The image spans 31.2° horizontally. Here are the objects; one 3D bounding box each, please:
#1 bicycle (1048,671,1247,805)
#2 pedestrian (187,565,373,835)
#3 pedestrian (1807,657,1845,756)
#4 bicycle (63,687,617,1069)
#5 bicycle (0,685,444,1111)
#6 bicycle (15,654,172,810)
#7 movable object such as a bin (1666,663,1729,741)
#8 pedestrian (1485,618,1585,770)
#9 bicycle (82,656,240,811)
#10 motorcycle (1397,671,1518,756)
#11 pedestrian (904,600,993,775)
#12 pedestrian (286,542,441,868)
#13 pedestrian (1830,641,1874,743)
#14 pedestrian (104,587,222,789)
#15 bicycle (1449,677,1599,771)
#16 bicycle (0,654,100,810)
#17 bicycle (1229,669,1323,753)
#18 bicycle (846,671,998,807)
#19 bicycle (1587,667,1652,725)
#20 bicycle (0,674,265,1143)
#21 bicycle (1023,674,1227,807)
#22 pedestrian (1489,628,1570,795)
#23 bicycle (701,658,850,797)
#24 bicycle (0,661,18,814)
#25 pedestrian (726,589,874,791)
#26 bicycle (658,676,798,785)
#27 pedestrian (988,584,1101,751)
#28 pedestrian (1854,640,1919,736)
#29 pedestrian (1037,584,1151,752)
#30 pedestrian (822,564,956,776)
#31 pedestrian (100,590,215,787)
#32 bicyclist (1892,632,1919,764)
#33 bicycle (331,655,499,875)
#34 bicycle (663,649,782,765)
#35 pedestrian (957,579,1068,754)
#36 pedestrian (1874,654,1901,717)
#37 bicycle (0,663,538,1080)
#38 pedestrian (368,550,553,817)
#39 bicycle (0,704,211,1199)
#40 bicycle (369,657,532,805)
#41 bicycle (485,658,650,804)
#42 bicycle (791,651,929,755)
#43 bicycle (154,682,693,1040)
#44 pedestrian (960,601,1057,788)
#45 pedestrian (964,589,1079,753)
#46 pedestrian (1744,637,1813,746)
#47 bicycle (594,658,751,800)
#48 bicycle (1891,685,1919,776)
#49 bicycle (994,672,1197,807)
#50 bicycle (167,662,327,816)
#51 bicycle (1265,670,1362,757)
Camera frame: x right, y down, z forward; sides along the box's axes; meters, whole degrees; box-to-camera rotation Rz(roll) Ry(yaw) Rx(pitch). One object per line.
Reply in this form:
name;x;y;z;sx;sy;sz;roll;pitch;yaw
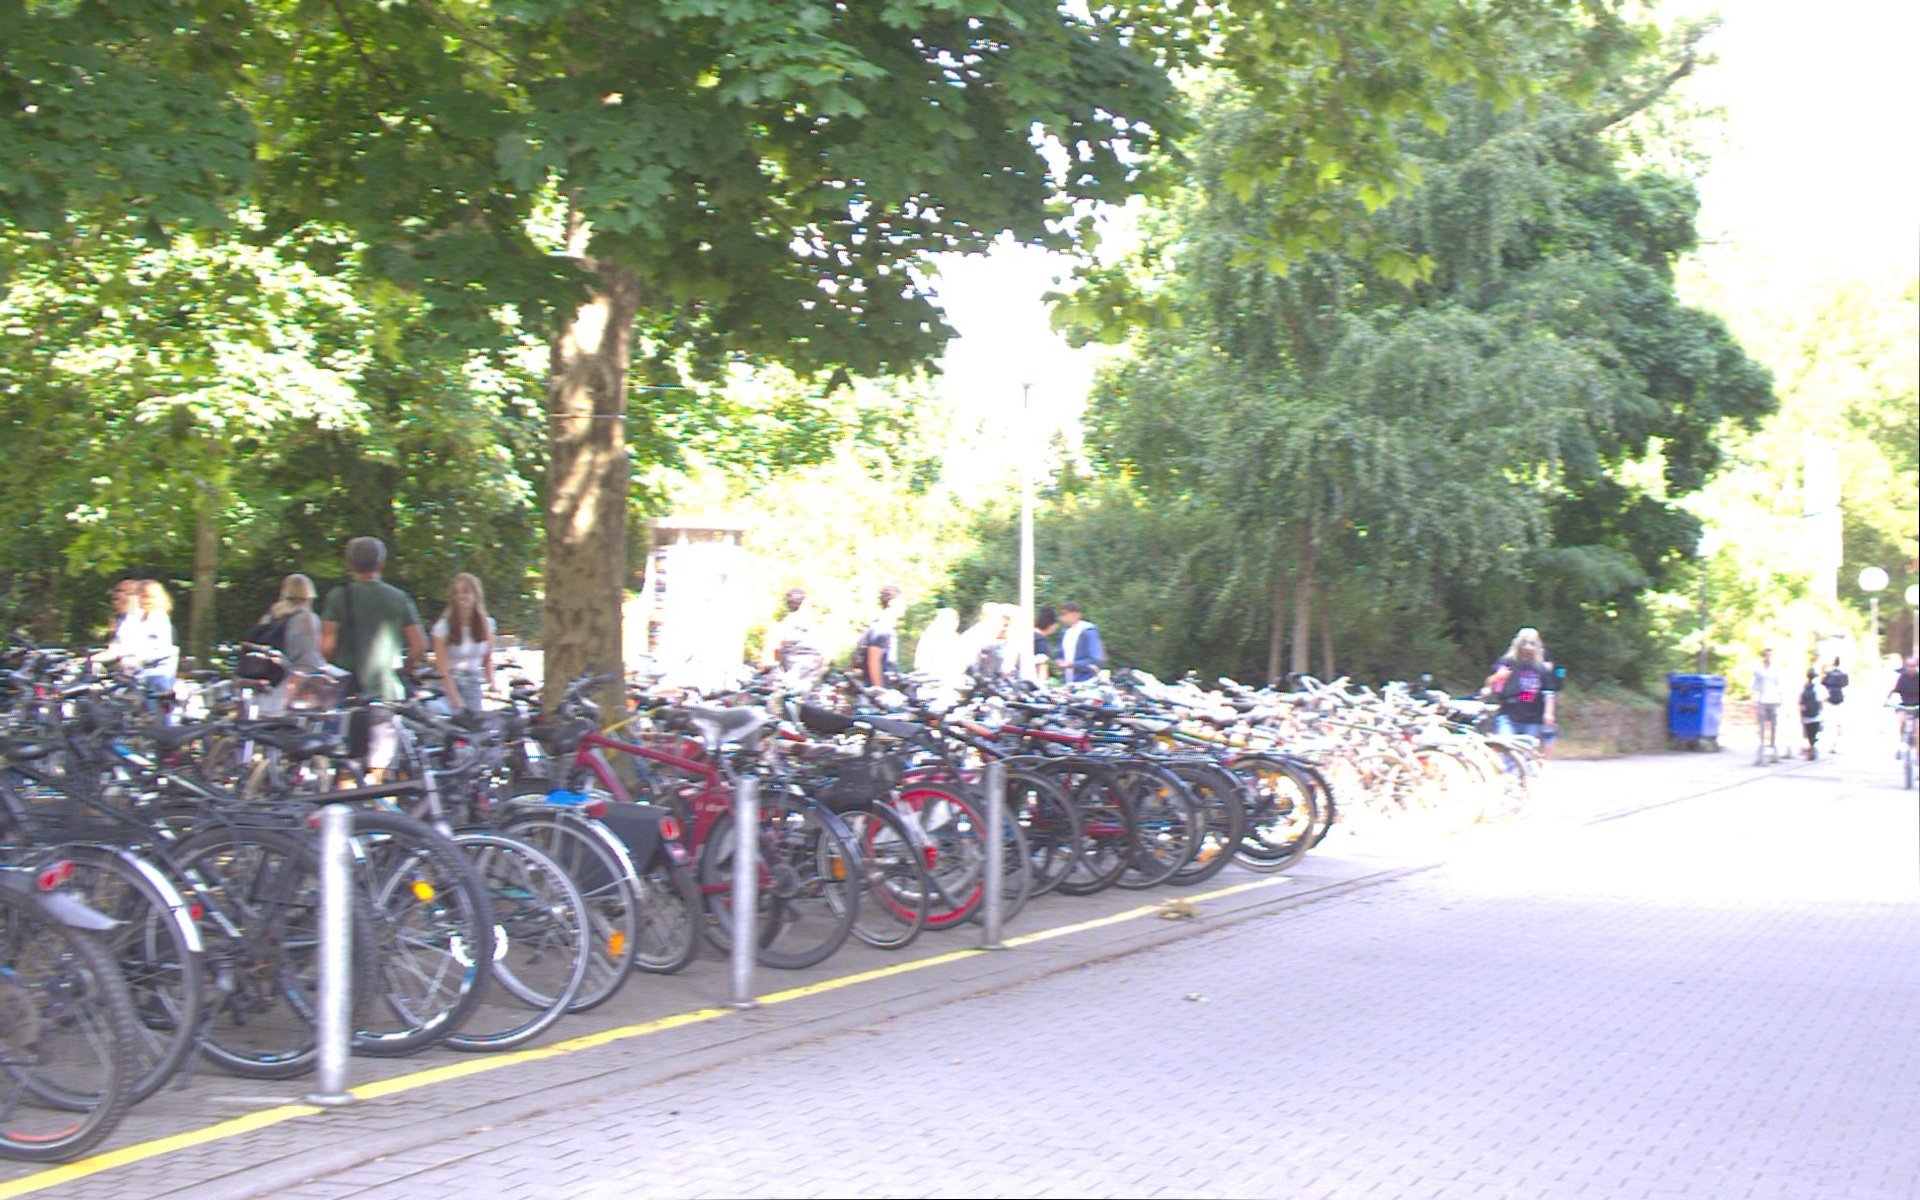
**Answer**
bicycle;1.644;1.202;30.219;1.697;1.106;0.473;1;-1;31
pedestrian;-4.382;0.632;22.151;0.904;1.697;0.770;2;-1;-35
pedestrian;14.406;1.766;57.181;0.569;1.605;0.917;1;-1;15
bicycle;-1.948;0.852;10.832;1.625;1.104;0.497;1;-1;13
bicycle;-2.366;0.814;9.781;1.625;1.104;0.644;1;-1;13
bicycle;-6.390;0.956;25.311;0.472;1.080;1.699;2;-1;-37
movable object such as a bin;13.109;1.801;61.099;0.710;1.332;1.237;3;0;28
pedestrian;7.023;1.141;41.992;1.046;1.829;0.614;2;-1;-36
bicycle;-5.944;0.979;25.523;0.472;1.080;1.699;2;-1;-37
motorcycle;6.816;1.549;47.223;0.472;1.043;2.026;2;0;-29
pedestrian;-0.115;0.860;34.263;0.684;1.718;0.731;0;0;-18
pedestrian;-3.388;0.589;19.494;0.767;1.800;0.710;1;0;-15
pedestrian;16.415;1.690;63.264;0.683;1.838;0.782;1;-1;18
pedestrian;-6.753;0.739;29.115;0.904;1.674;0.770;1;0;-15
bicycle;6.897;1.522;42.002;1.838;1.106;0.474;2;-1;-25
bicycle;-6.870;0.947;25.137;0.472;1.080;1.699;2;-1;-37
bicycle;4.148;1.447;45.217;0.472;1.043;1.700;2;-1;-23
bicycle;-0.331;1.160;29.025;0.472;1.080;1.700;2;-1;-31
bicycle;10.920;1.595;56.892;0.422;0.907;1.736;1;-2;33
bicycle;-2.696;0.771;9.082;1.626;1.147;0.496;1;-1;18
bicycle;1.422;1.208;29.770;1.721;1.080;0.473;1;-1;31
pedestrian;5.860;1.133;35.343;0.768;1.674;0.906;0;0;13
bicycle;-1.537;1.037;28.362;0.472;1.080;1.700;2;-1;-31
bicycle;-7.388;0.964;24.884;0.472;1.080;1.699;2;-1;-37
pedestrian;-1.387;0.769;29.829;1.061;1.718;0.719;0;0;-39
bicycle;-2.530;1.410;37.362;0.473;1.106;1.777;2;-1;-43
pedestrian;0.889;0.708;36.062;0.901;1.718;0.686;2;-1;-38
pedestrian;18.515;1.755;68.602;1.079;1.875;0.726;3;-2;-35
pedestrian;1.476;0.743;37.850;0.880;1.809;0.834;2;-1;-43
pedestrian;-0.623;0.602;30.183;0.938;1.829;0.686;0;0;-38
pedestrian;-6.986;0.765;29.920;0.904;1.674;0.770;1;0;-15
bicyclist;12.536;1.275;44.759;0.772;1.710;0.910;0;-2;15
bicycle;-3.182;0.933;19.966;0.574;1.195;1.700;2;-1;-22
bicycle;-2.401;1.069;34.566;0.472;1.106;1.778;2;-1;-28
pedestrian;0.523;0.655;34.316;0.934;1.718;0.677;0;0;-17
pedestrian;27.441;2.544;101.733;0.683;1.838;0.782;1;-1;18
bicycle;-2.218;0.795;10.401;1.780;1.158;0.497;1;-1;13
pedestrian;-3.258;0.532;22.416;0.768;1.697;0.906;2;-1;-45
bicycle;-2.696;0.798;8.257;1.626;1.104;0.690;1;-1;23
bicycle;-3.977;1.006;26.743;0.472;1.080;1.699;2;-1;-37
bicycle;-3.113;1.020;27.157;0.472;1.080;1.699;2;-1;-37
bicycle;-1.132;1.154;38.732;0.473;1.106;1.777;2;-1;-43
bicycle;-1.851;0.859;11.810;1.724;1.104;0.718;1;-1;29
pedestrian;0.461;0.880;32.424;0.684;1.718;0.731;2;0;16
pedestrian;0.689;0.790;38.337;0.981;1.798;0.770;2;-1;-41
pedestrian;14.214;1.588;59.735;0.783;1.839;1.118;2;0;-6
bicycle;-2.339;1.035;27.846;0.472;1.080;1.699;2;-1;-34
bicycle;12.535;1.695;44.779;0.772;1.146;2.106;0;-2;15
bicycle;1.150;1.179;29.329;1.697;1.080;0.473;1;-1;32
bicycle;-5.362;1.028;25.802;0.472;1.080;1.699;2;-1;-37
bicycle;4.674;1.495;45.552;0.472;1.043;1.700;3;0;-23
